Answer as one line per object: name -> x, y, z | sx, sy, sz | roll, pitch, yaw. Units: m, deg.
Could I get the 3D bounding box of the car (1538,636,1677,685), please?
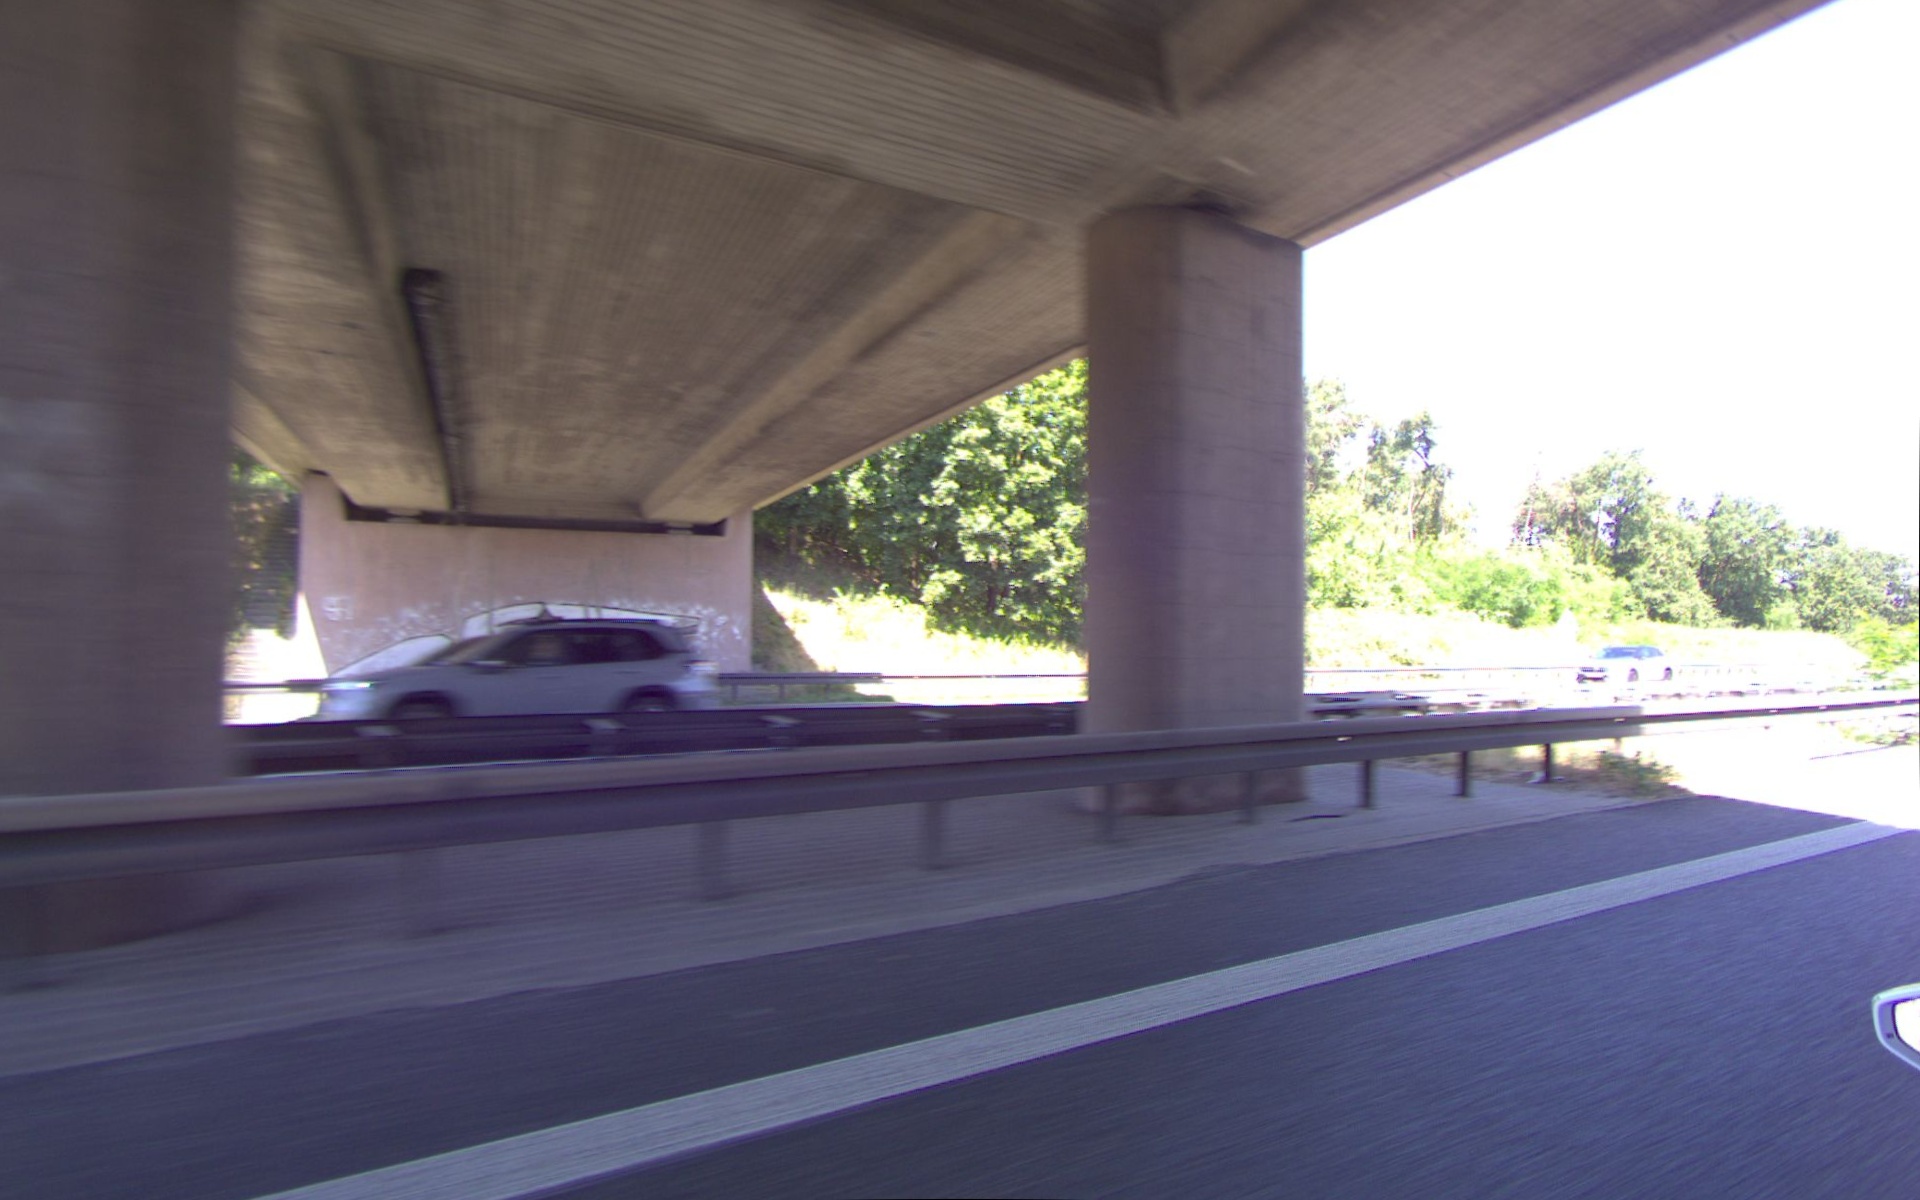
car -> 23.136, 2.150, 35.832 | 5.003, 1.631, 2.217 | 1, -4, -32

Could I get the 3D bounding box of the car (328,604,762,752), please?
car -> -5.403, 0.972, 13.360 | 5.003, 1.631, 2.217 | 1, -4, -32

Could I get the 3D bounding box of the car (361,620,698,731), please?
car -> -7.244, 1.228, 17.061 | 5.003, 1.631, 2.217 | 1, -4, -32
